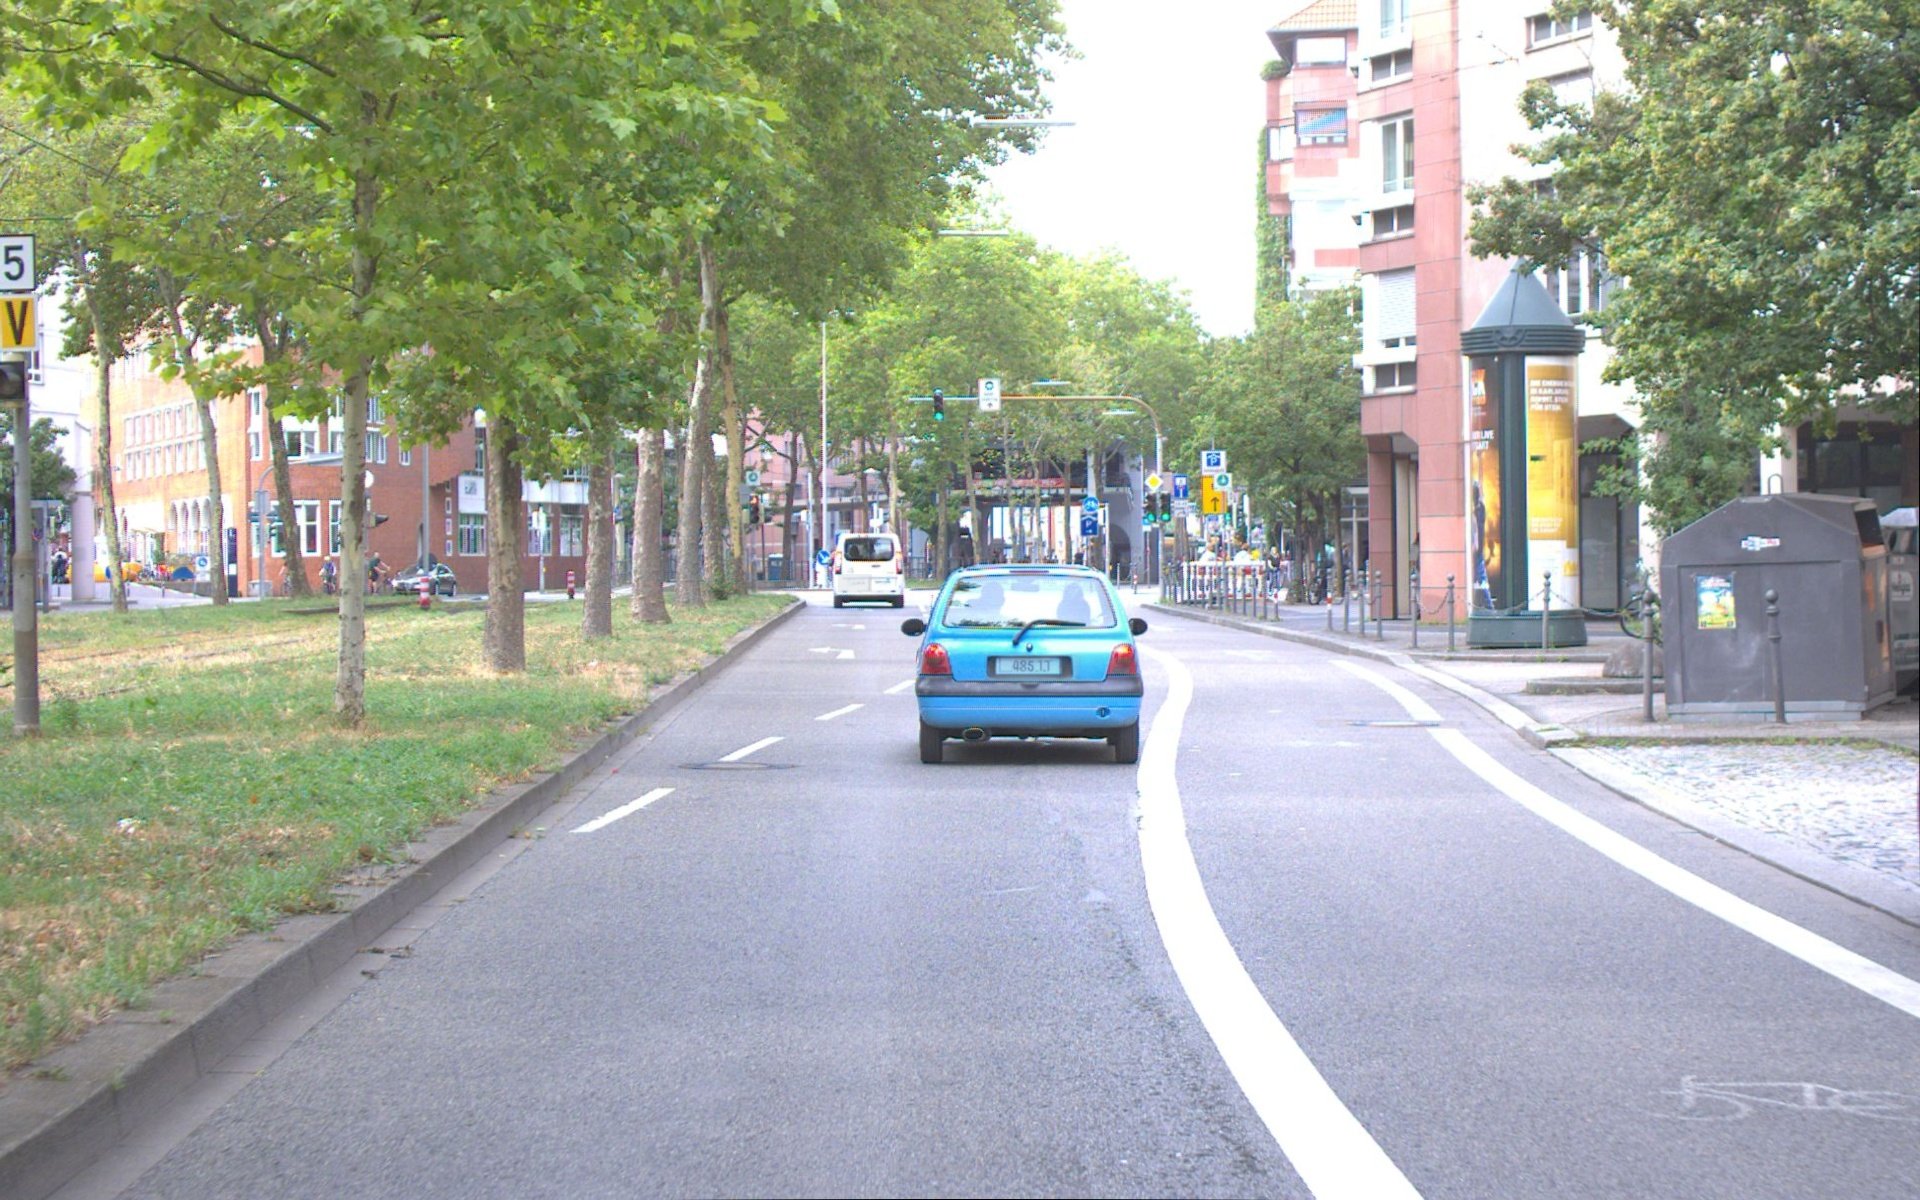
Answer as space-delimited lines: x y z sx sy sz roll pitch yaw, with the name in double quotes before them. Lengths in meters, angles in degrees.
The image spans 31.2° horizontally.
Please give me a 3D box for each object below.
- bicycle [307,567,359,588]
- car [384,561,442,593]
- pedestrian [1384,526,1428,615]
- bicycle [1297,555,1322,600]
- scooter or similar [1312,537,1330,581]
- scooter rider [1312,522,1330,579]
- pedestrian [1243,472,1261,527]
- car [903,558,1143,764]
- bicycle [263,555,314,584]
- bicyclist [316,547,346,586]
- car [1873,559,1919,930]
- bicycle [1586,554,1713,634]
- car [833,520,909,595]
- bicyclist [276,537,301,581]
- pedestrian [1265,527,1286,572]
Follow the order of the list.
"bicycle" -25.135 -0.897 137.833 1.982 0.833 0.579 -1 1 -37
"car" -22.107 -0.944 139.104 1.729 1.241 4.535 0 1 -1
"pedestrian" 8.306 -0.559 63.953 0.544 1.644 0.824 0 1 28
"bicycle" 8.687 -0.562 85.428 0.612 1.114 1.804 0 1 7
"scooter or similar" 9.844 -1.126 93.731 0.474 1.202 1.330 0 1 5
"scooter rider" 9.819 -1.339 93.440 0.461 1.552 0.565 0 1 5
"pedestrian" 8.651 -2.967 102.015 0.517 1.610 0.850 0 1 4
"car" 0.420 0.396 25.448 1.640 1.381 3.843 0 1 0
"bicycle" -25.782 -1.174 131.988 1.871 1.088 0.578 -1 1 -37
"bicyclist" -25.216 -1.337 137.797 1.031 1.557 0.582 -1 1 -37
"car" 4.591 0.577 11.675 1.816 1.437 4.666 -2 1 2
"bicycle" 9.962 -0.088 49.707 1.663 1.125 0.669 -1 0 41
"car" -2.328 -1.144 90.760 1.931 1.919 4.956 0 1 -1
"bicyclist" -25.777 -1.571 131.991 0.782 1.667 0.573 -1 1 -37
"pedestrian" 10.919 -1.744 118.977 0.676 1.533 0.947 0 1 7
